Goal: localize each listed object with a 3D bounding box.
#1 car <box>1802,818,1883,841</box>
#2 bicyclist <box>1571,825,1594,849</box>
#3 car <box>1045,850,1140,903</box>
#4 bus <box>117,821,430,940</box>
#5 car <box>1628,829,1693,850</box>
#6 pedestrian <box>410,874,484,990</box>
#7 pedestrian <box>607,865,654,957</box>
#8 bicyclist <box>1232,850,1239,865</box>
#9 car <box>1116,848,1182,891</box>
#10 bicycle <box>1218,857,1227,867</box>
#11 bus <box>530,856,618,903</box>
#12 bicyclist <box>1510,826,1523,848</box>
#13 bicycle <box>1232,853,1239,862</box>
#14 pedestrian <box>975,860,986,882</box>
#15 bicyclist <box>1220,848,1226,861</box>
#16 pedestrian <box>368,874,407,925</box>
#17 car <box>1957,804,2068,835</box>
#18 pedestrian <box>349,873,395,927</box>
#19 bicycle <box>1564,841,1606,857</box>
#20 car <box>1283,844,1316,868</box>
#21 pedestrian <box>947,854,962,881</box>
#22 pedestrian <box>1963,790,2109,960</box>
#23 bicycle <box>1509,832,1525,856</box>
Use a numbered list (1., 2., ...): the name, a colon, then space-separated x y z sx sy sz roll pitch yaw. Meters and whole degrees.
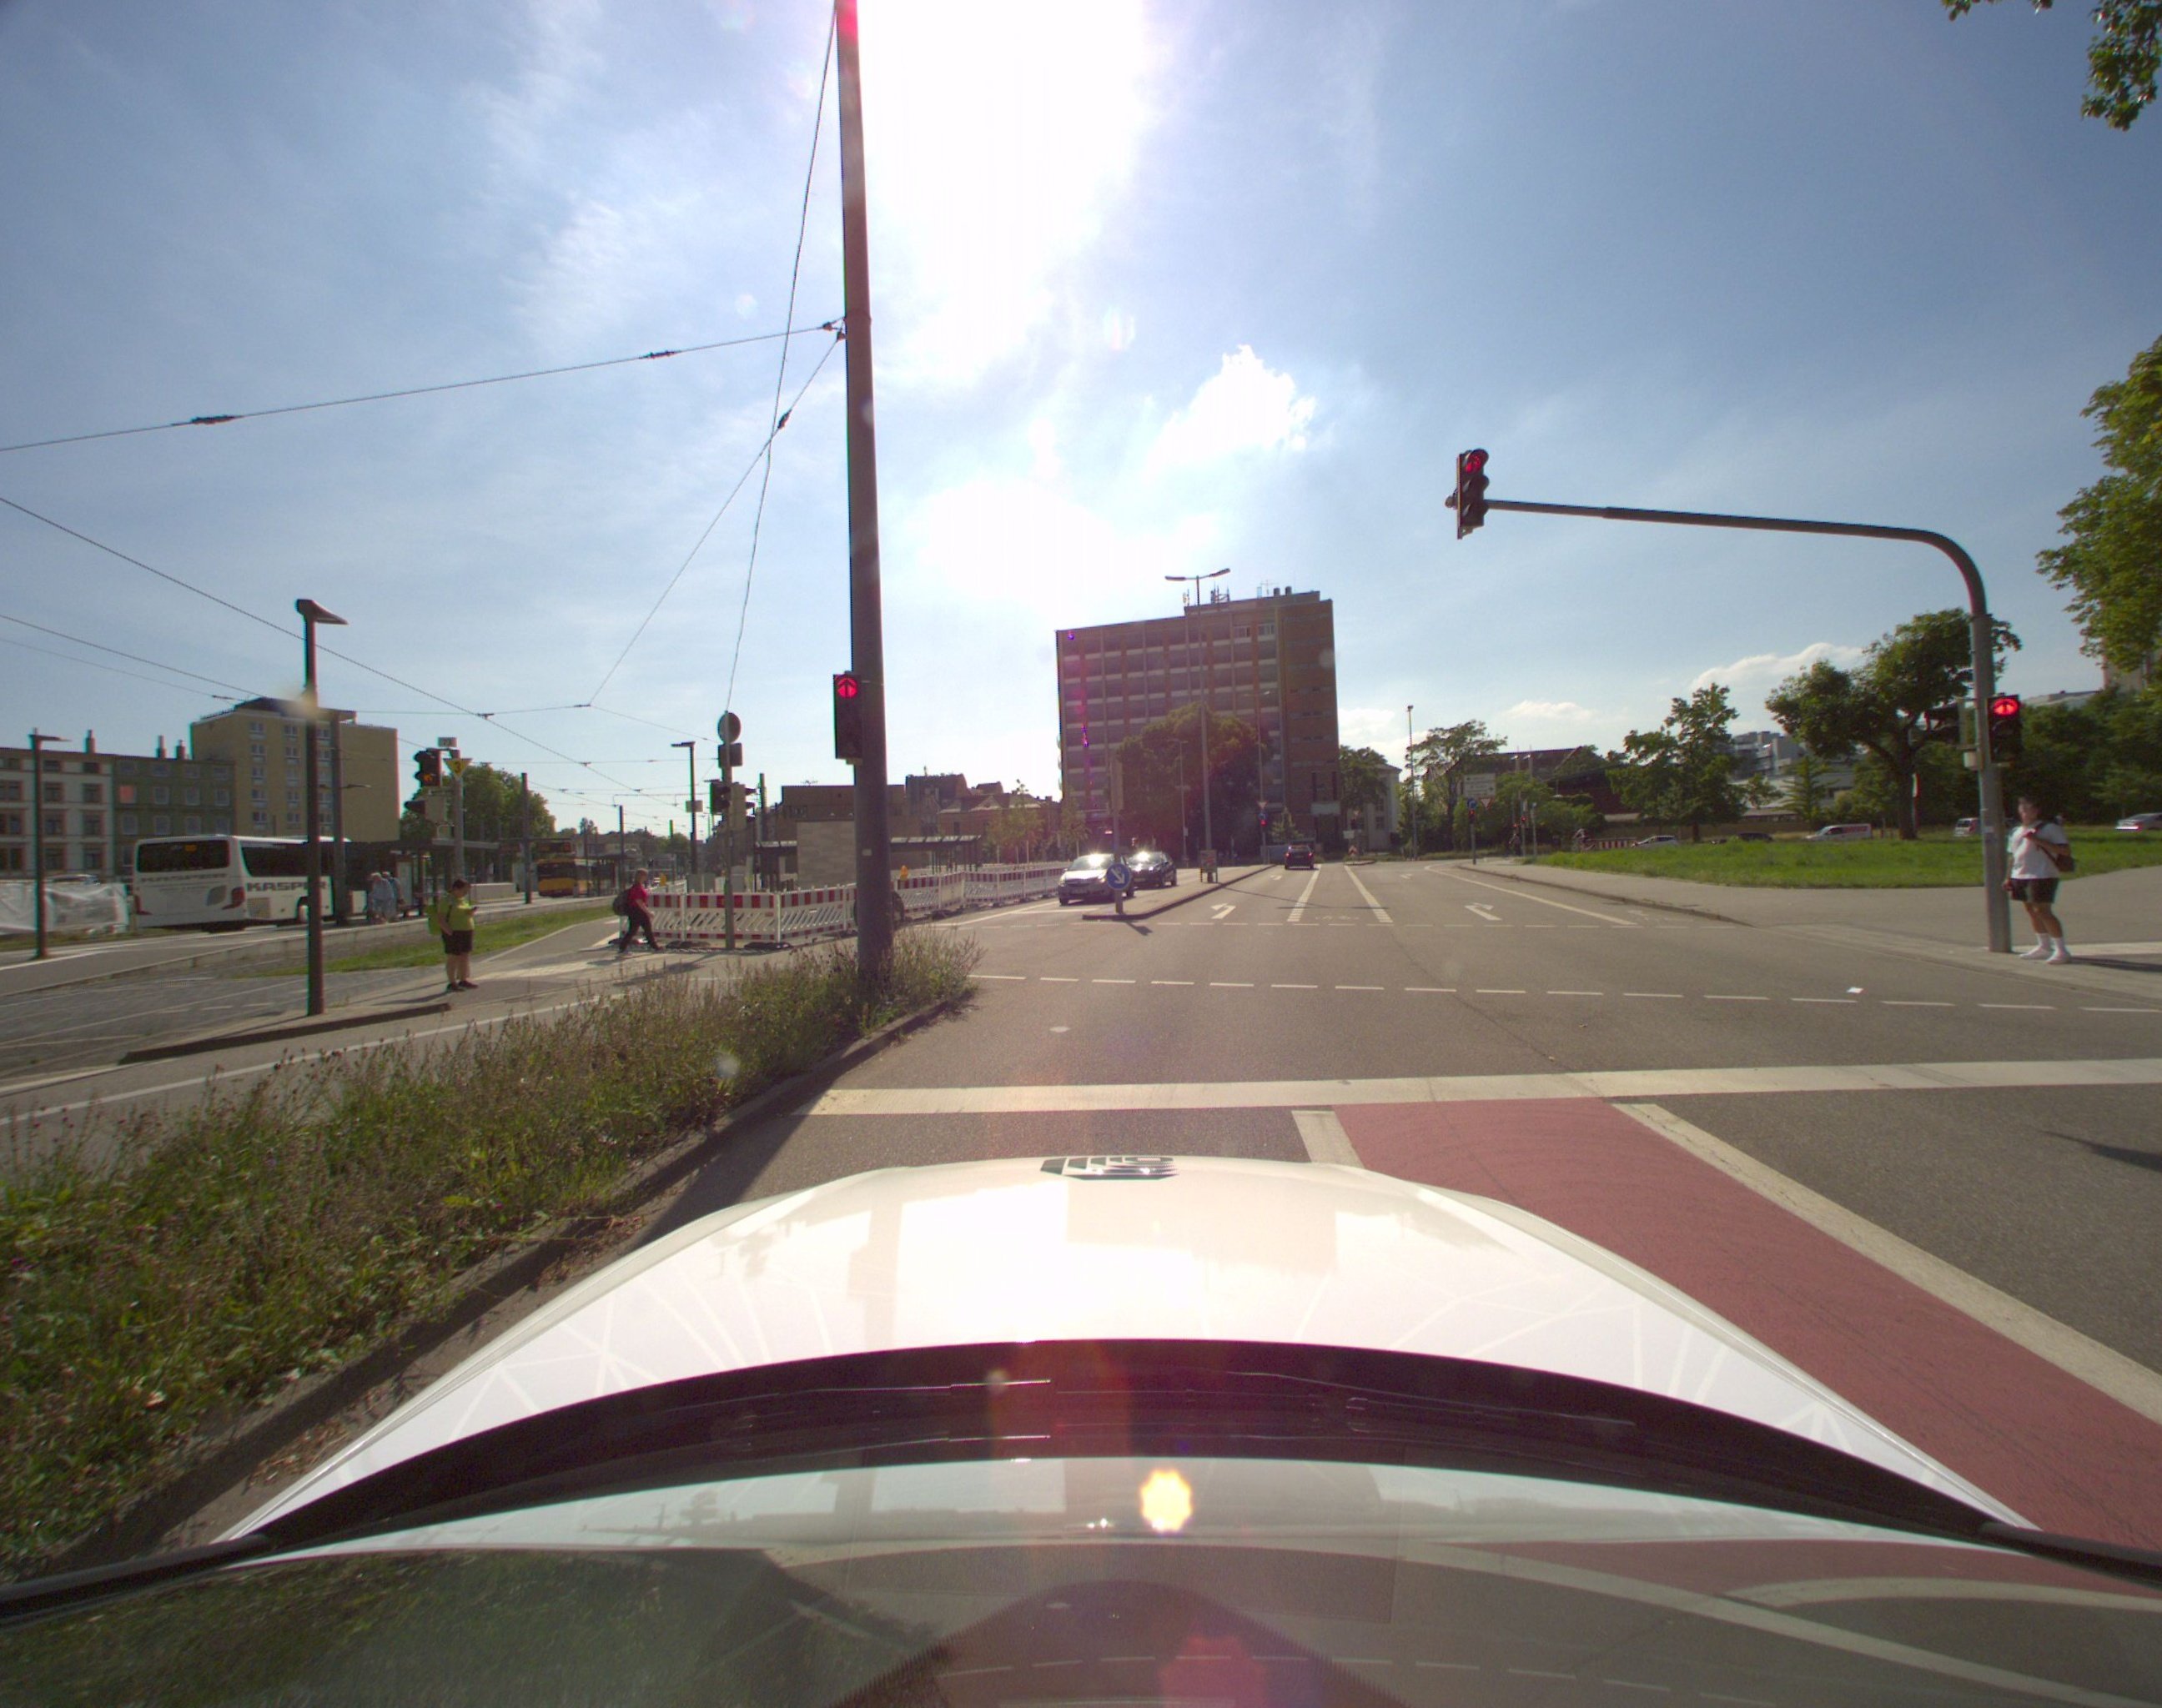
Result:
1. car: 60.330 -1.957 64.624 4.276 1.569 1.919 -3 0 17
2. bicyclist: 31.160 -1.042 50.630 0.497 1.470 1.133 0 -1 -26
3. car: 0.448 0.643 25.400 1.779 1.412 4.018 -4 -1 18
4. bus: -29.419 0.880 30.909 2.861 3.489 12.582 -3 0 -18
5. car: 48.874 -1.218 68.752 3.956 1.464 2.009 -3 -1 17
6. pedestrian: -8.669 1.055 11.151 0.664 1.543 0.422 0 1 -5
7. pedestrian: -8.236 1.022 14.906 0.688 1.616 0.347 -2 0 -29
8. bicyclist: 16.629 0.381 87.779 0.614 1.582 1.017 -5 -1 12
9. car: 2.782 0.586 32.632 1.653 1.450 3.836 -7 -1 18
10. bicycle: 15.672 0.898 90.161 0.699 0.977 2.039 -3 0 15
11. bus: -40.375 1.941 65.419 2.861 3.281 12.582 -2 0 -18
12. bicyclist: 32.695 -1.261 61.137 0.673 1.655 0.923 -3 0 17
13. bicycle: 16.629 0.381 87.779 0.614 0.961 1.975 -5 -1 12
14. pedestrian: -6.952 1.182 56.493 0.628 1.491 0.617 -3 0 1
15. bicyclist: 15.742 0.065 90.259 0.535 1.417 1.034 -4 -2 15
16. pedestrian: -22.783 1.477 26.761 0.686 1.615 0.585 -2 0 -4
17. car: 55.423 -2.028 48.534 3.955 1.508 1.760 -3 0 17
18. pedestrian: -22.301 1.442 25.615 0.789 1.615 0.662 -2 0 -2
19. bicycle: 31.269 -0.307 50.557 0.676 0.916 2.150 -3 0 -25
20. car: 13.569 0.109 50.372 1.766 1.443 3.835 -1 0 18
21. pedestrian: -8.577 0.940 55.172 0.733 1.752 1.111 -3 -3 1
22. pedestrian: 11.208 0.240 9.590 0.650 1.874 0.796 -4 0 -1
23. bicycle: 32.735 -0.761 61.184 0.673 1.765 1.819 -3 0 17
